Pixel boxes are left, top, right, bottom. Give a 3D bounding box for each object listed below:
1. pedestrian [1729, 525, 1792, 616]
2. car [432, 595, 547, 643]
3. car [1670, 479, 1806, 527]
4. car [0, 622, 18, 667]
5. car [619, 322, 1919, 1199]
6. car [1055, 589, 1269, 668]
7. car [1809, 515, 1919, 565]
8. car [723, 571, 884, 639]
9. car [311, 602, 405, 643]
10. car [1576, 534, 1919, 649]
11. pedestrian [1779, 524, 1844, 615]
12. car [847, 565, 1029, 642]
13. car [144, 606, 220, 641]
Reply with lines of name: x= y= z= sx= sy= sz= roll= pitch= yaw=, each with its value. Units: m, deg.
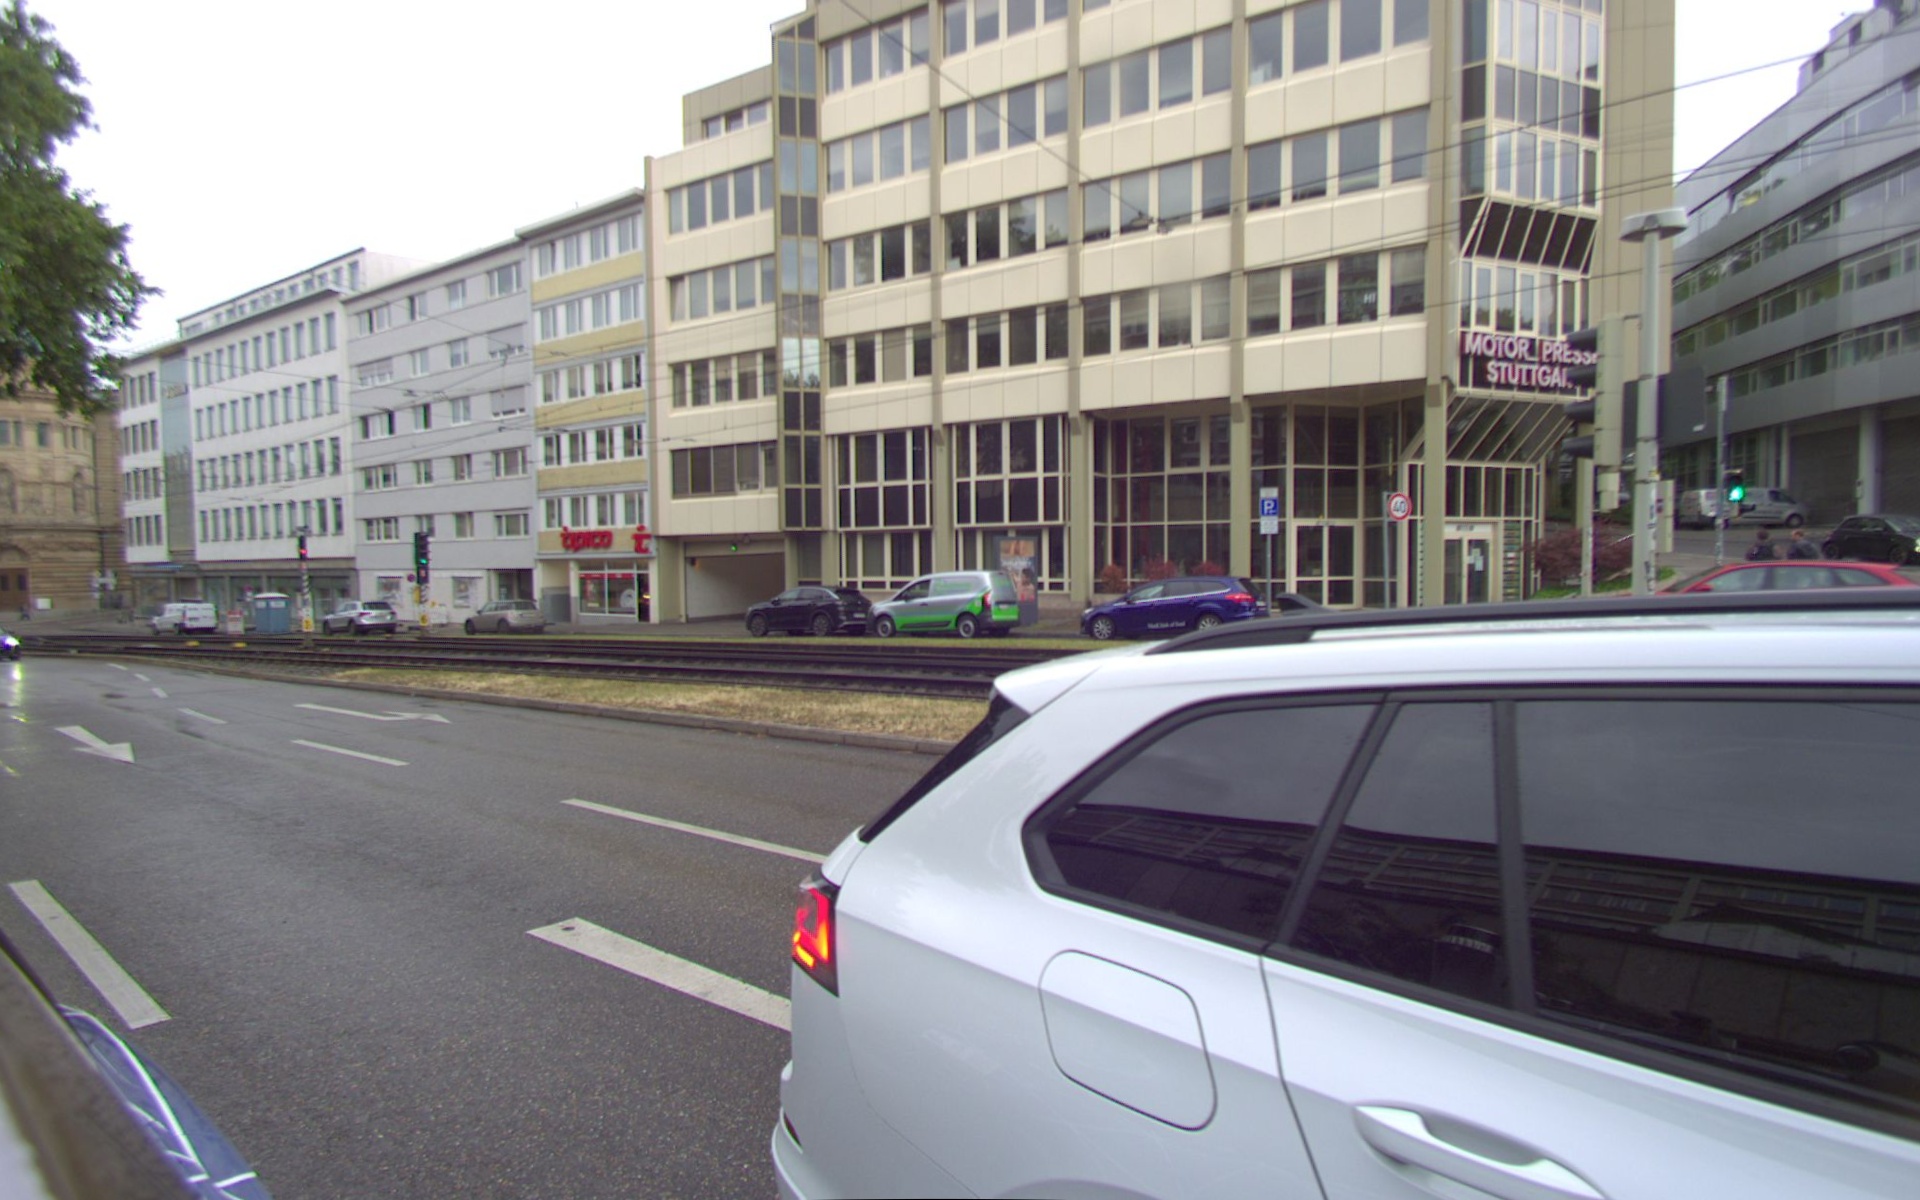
pedestrian: x=16.270 y=-0.595 z=20.587 sx=0.804 sy=1.800 sz=0.637 roll=-1 pitch=3 yaw=18
car: x=-18.875 y=0.723 z=40.532 sx=4.682 sy=1.686 sz=1.978 roll=0 pitch=4 yaw=34
car: x=37.395 y=-4.651 z=48.772 sx=4.779 sy=2.028 sz=1.996 roll=-2 pitch=3 yaw=8
car: x=-34.008 y=1.580 z=34.600 sx=4.638 sy=1.478 sz=1.974 roll=-2 pitch=2 yaw=39
car: x=1.523 y=0.566 z=1.123 sx=4.251 sy=1.588 sz=1.662 roll=-1 pitch=1 yaw=41
car: x=4.732 y=0.610 z=23.920 sx=4.536 sy=1.593 sz=1.978 roll=0 pitch=4 yaw=34
car: x=27.867 y=-1.802 z=30.048 sx=1.803 sy=1.374 sz=4.004 roll=-2 pitch=3 yaw=-3
car: x=-4.795 y=0.121 z=30.836 sx=4.682 sy=1.863 sz=1.978 roll=0 pitch=4 yaw=34
car: x=-28.154 y=1.066 z=47.290 sx=4.686 sy=1.686 sz=1.976 roll=-2 pitch=3 yaw=36
car: x=12.580 y=-0.151 z=16.231 sx=4.391 sy=1.652 sz=1.971 roll=-1 pitch=2 yaw=25
pedestrian: x=17.197 y=-0.616 z=20.455 sx=0.804 sy=1.800 sz=0.637 roll=-1 pitch=3 yaw=18
car: x=-0.642 y=0.066 z=27.837 sx=4.682 sy=1.863 sz=1.978 roll=0 pitch=4 yaw=34
car: x=-46.613 y=1.387 z=60.614 sx=5.117 sy=1.856 sz=1.978 roll=0 pitch=4 yaw=34
